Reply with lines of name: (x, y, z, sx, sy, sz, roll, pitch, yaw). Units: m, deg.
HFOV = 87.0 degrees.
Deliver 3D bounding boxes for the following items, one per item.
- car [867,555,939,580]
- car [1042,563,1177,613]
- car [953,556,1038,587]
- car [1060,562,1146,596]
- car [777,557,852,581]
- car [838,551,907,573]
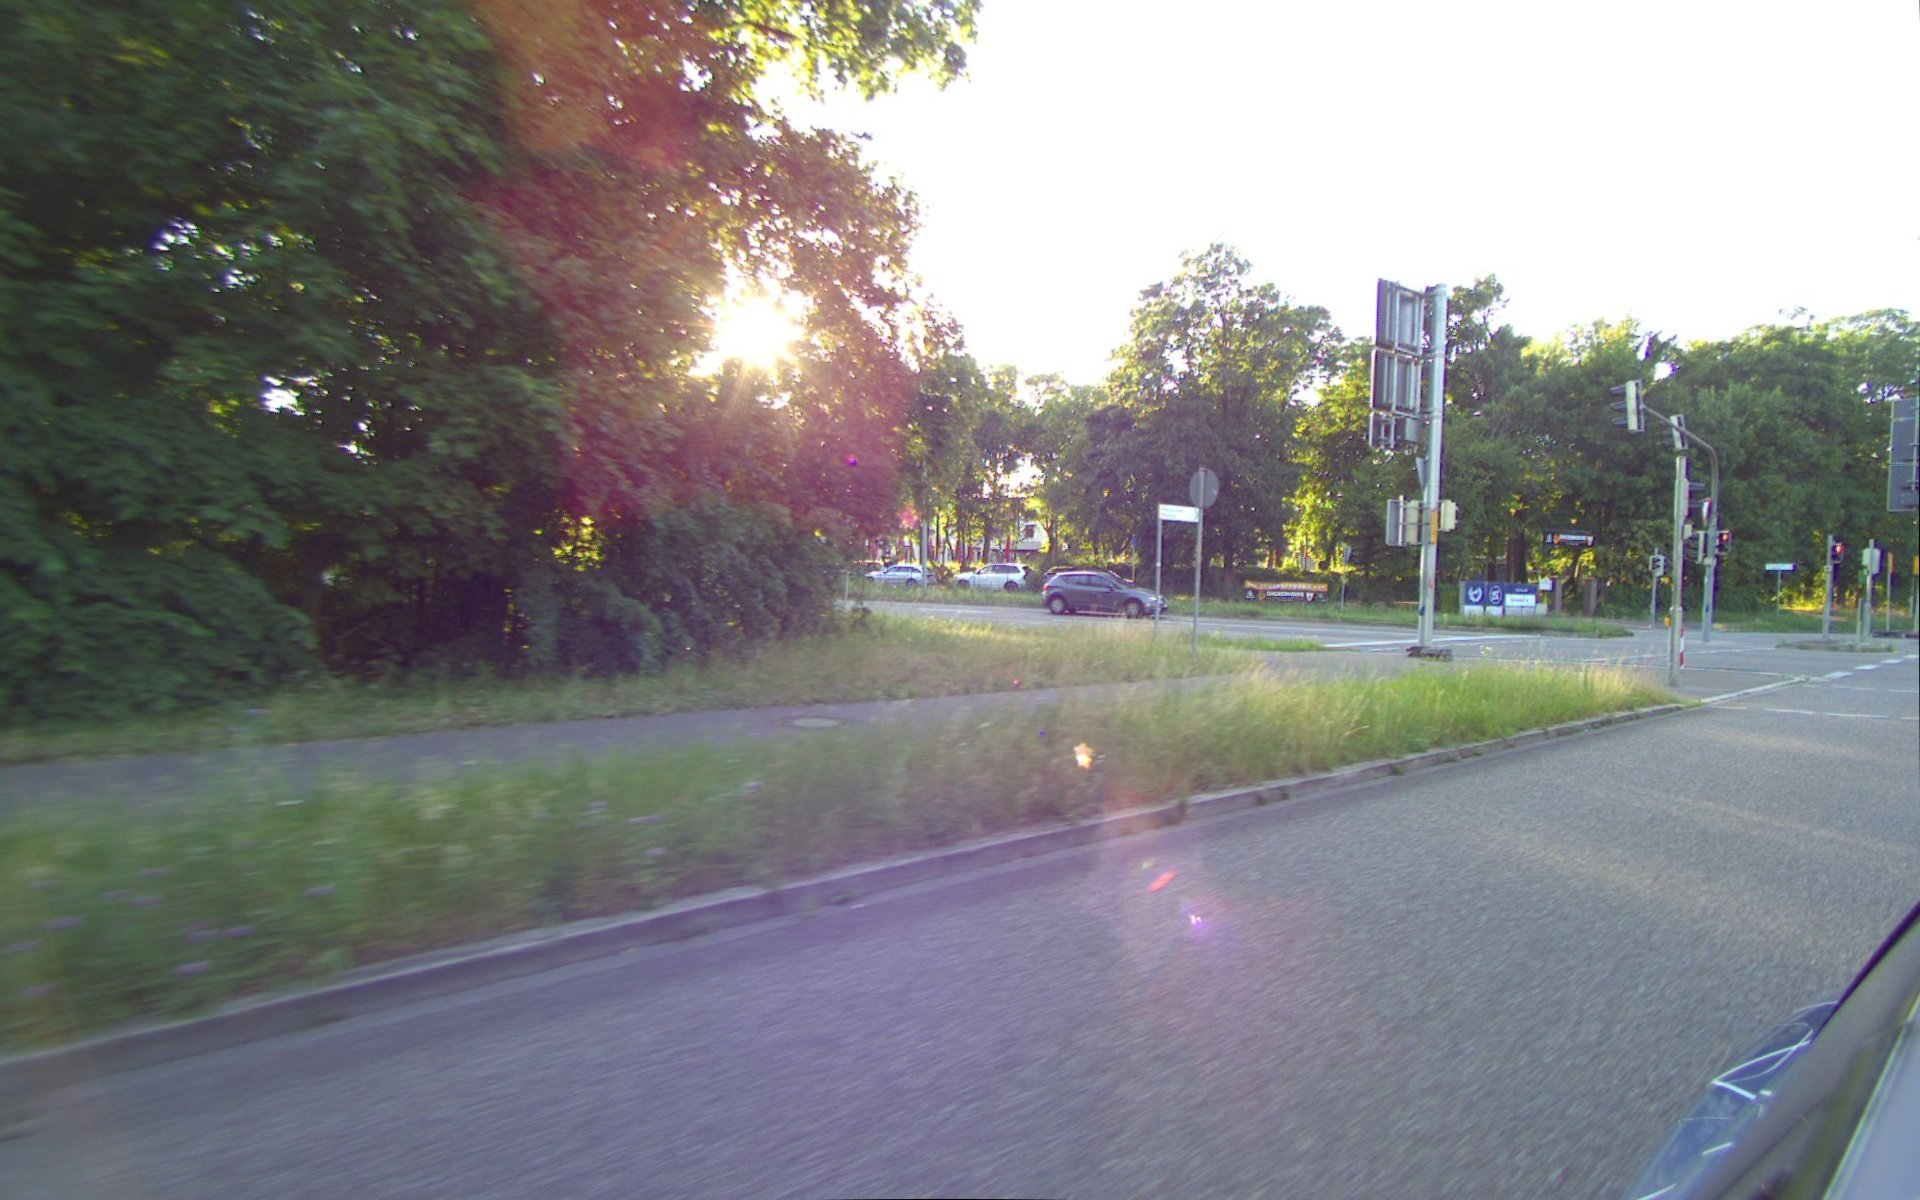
car: (-3.440, -1.969, 60.886, 3.956, 1.348, 1.851, 2, 2, 23)
car: (4.945, -0.437, 33.502, 4.037, 1.422, 1.855, 2, 4, 27)
car: (2.053, -1.647, 58.378, 4.497, 1.678, 1.851, 2, 2, 23)
car: (7.875, -1.170, 55.618, 4.480, 1.678, 1.858, 3, 2, 14)
car: (-9.134, -1.957, 63.603, 4.449, 1.340, 1.667, 2, 2, 23)
car: (-6.123, -2.685, 70.834, 4.497, 1.424, 1.851, 2, 2, 23)
